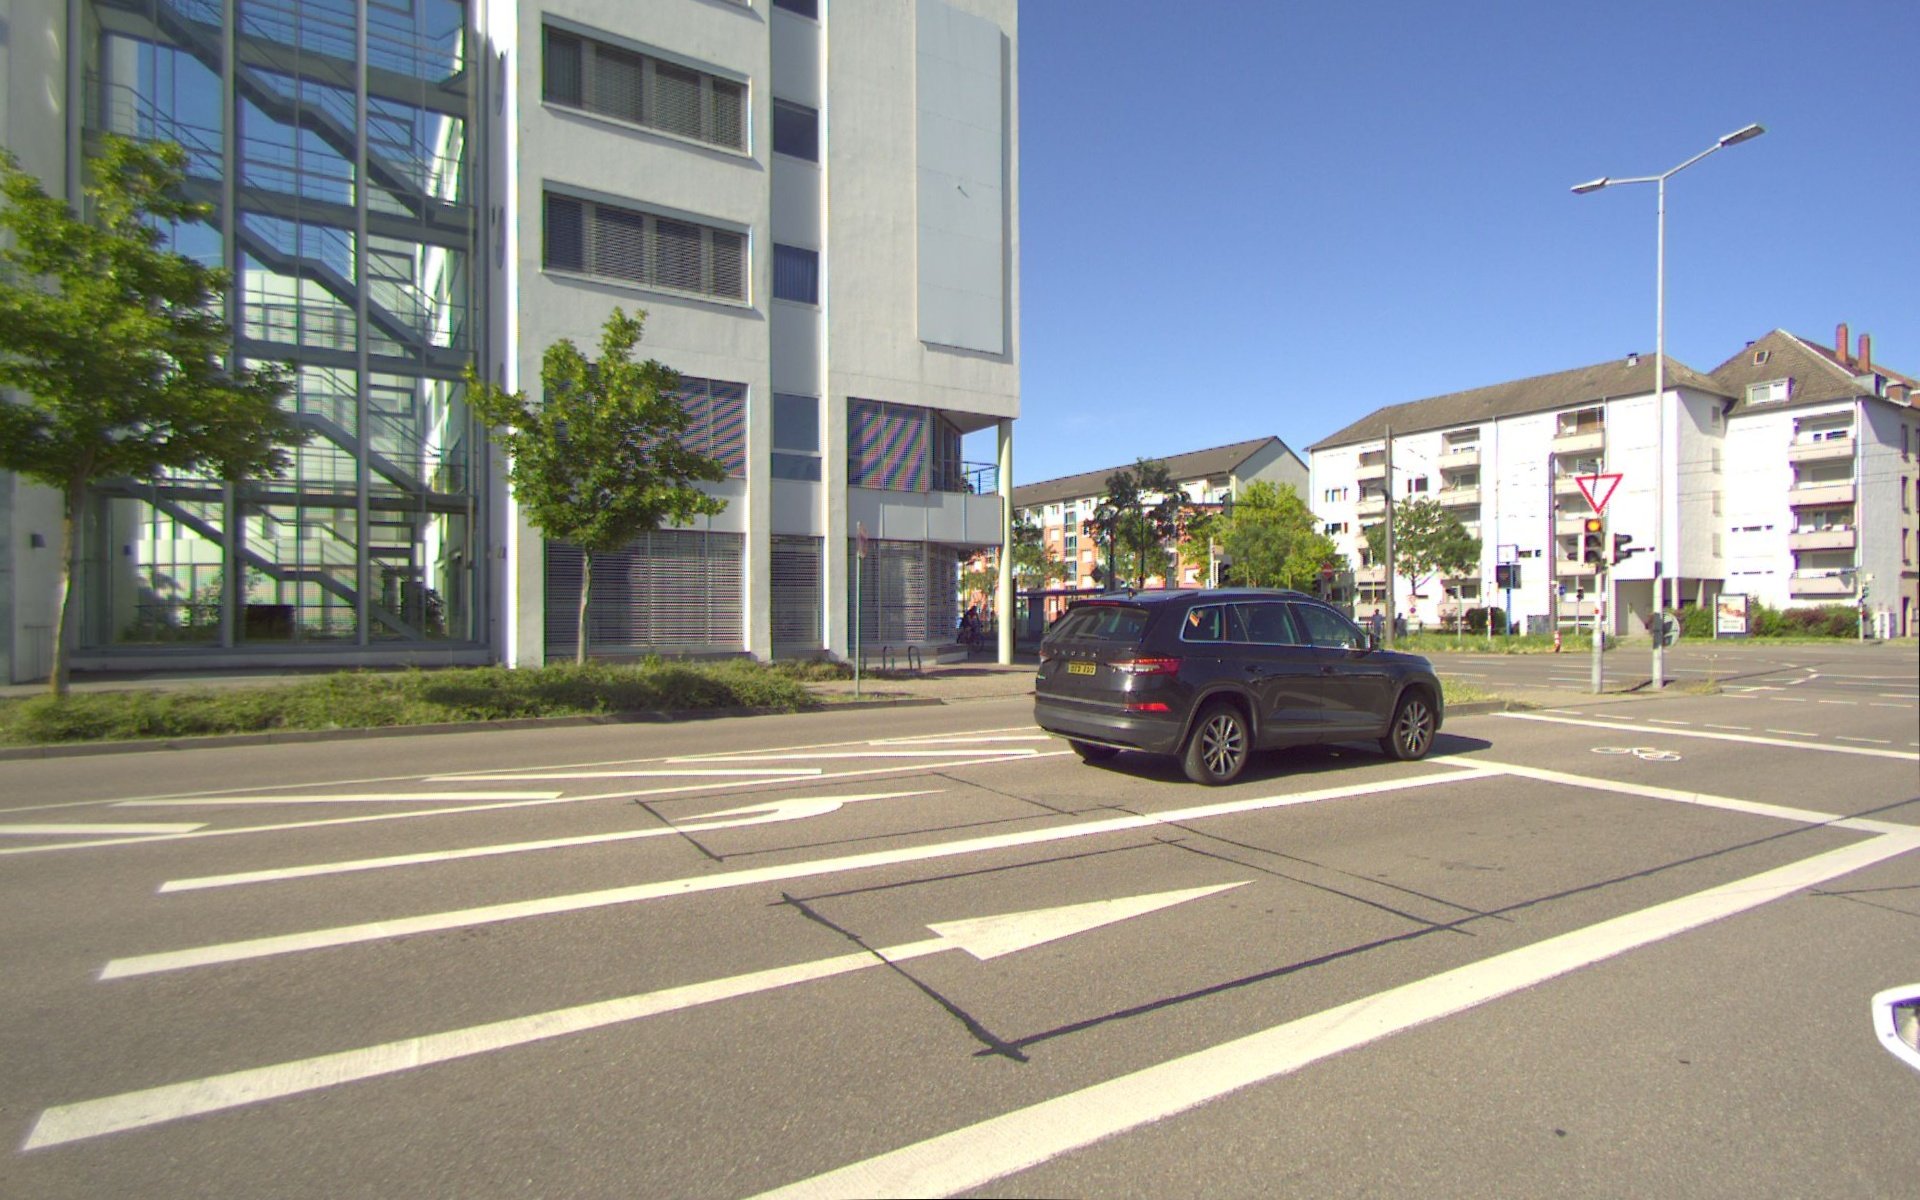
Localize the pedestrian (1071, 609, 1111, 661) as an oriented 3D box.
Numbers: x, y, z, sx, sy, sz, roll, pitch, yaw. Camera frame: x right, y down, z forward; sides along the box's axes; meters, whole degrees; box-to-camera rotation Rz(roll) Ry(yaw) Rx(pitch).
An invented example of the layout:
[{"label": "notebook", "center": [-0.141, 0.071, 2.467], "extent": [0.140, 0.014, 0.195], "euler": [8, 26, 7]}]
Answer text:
[{"label": "pedestrian", "center": [4.516, 1.209, 34.669], "extent": [1.143, 1.749, 0.805], "euler": [0, -1, -37]}]

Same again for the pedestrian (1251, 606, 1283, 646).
[{"label": "pedestrian", "center": [13.389, 1.136, 43.815], "extent": [1.143, 1.749, 0.805], "euler": [0, -1, -37]}]

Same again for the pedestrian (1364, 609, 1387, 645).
[{"label": "pedestrian", "center": [20.343, 1.303, 49.183], "extent": [0.797, 1.749, 1.155], "euler": [0, -1, 9]}]

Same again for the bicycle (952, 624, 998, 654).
[{"label": "bicycle", "center": [0.550, 1.444, 37.143], "extent": [0.668, 1.069, 1.790], "euler": [1, -2, -40]}]

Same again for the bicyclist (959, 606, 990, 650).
[{"label": "bicyclist", "center": [0.534, 1.051, 37.172], "extent": [0.668, 1.606, 0.993], "euler": [1, -2, -41]}]

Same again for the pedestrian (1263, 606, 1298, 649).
[{"label": "pedestrian", "center": [13.479, 1.151, 42.270], "extent": [1.143, 1.794, 0.914], "euler": [0, -1, -37]}]

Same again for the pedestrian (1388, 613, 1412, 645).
[{"label": "pedestrian", "center": [21.325, 1.399, 48.695], "extent": [0.850, 1.554, 0.719], "euler": [0, -1, -37]}]

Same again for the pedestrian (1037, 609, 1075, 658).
[{"label": "pedestrian", "center": [3.522, 1.220, 36.979], "extent": [1.143, 1.749, 0.805], "euler": [0, -1, -37]}]

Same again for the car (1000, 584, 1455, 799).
[{"label": "car", "center": [2.694, 0.724, 9.724], "extent": [4.430, 1.650, 1.743], "euler": [1, 1, -34]}]
